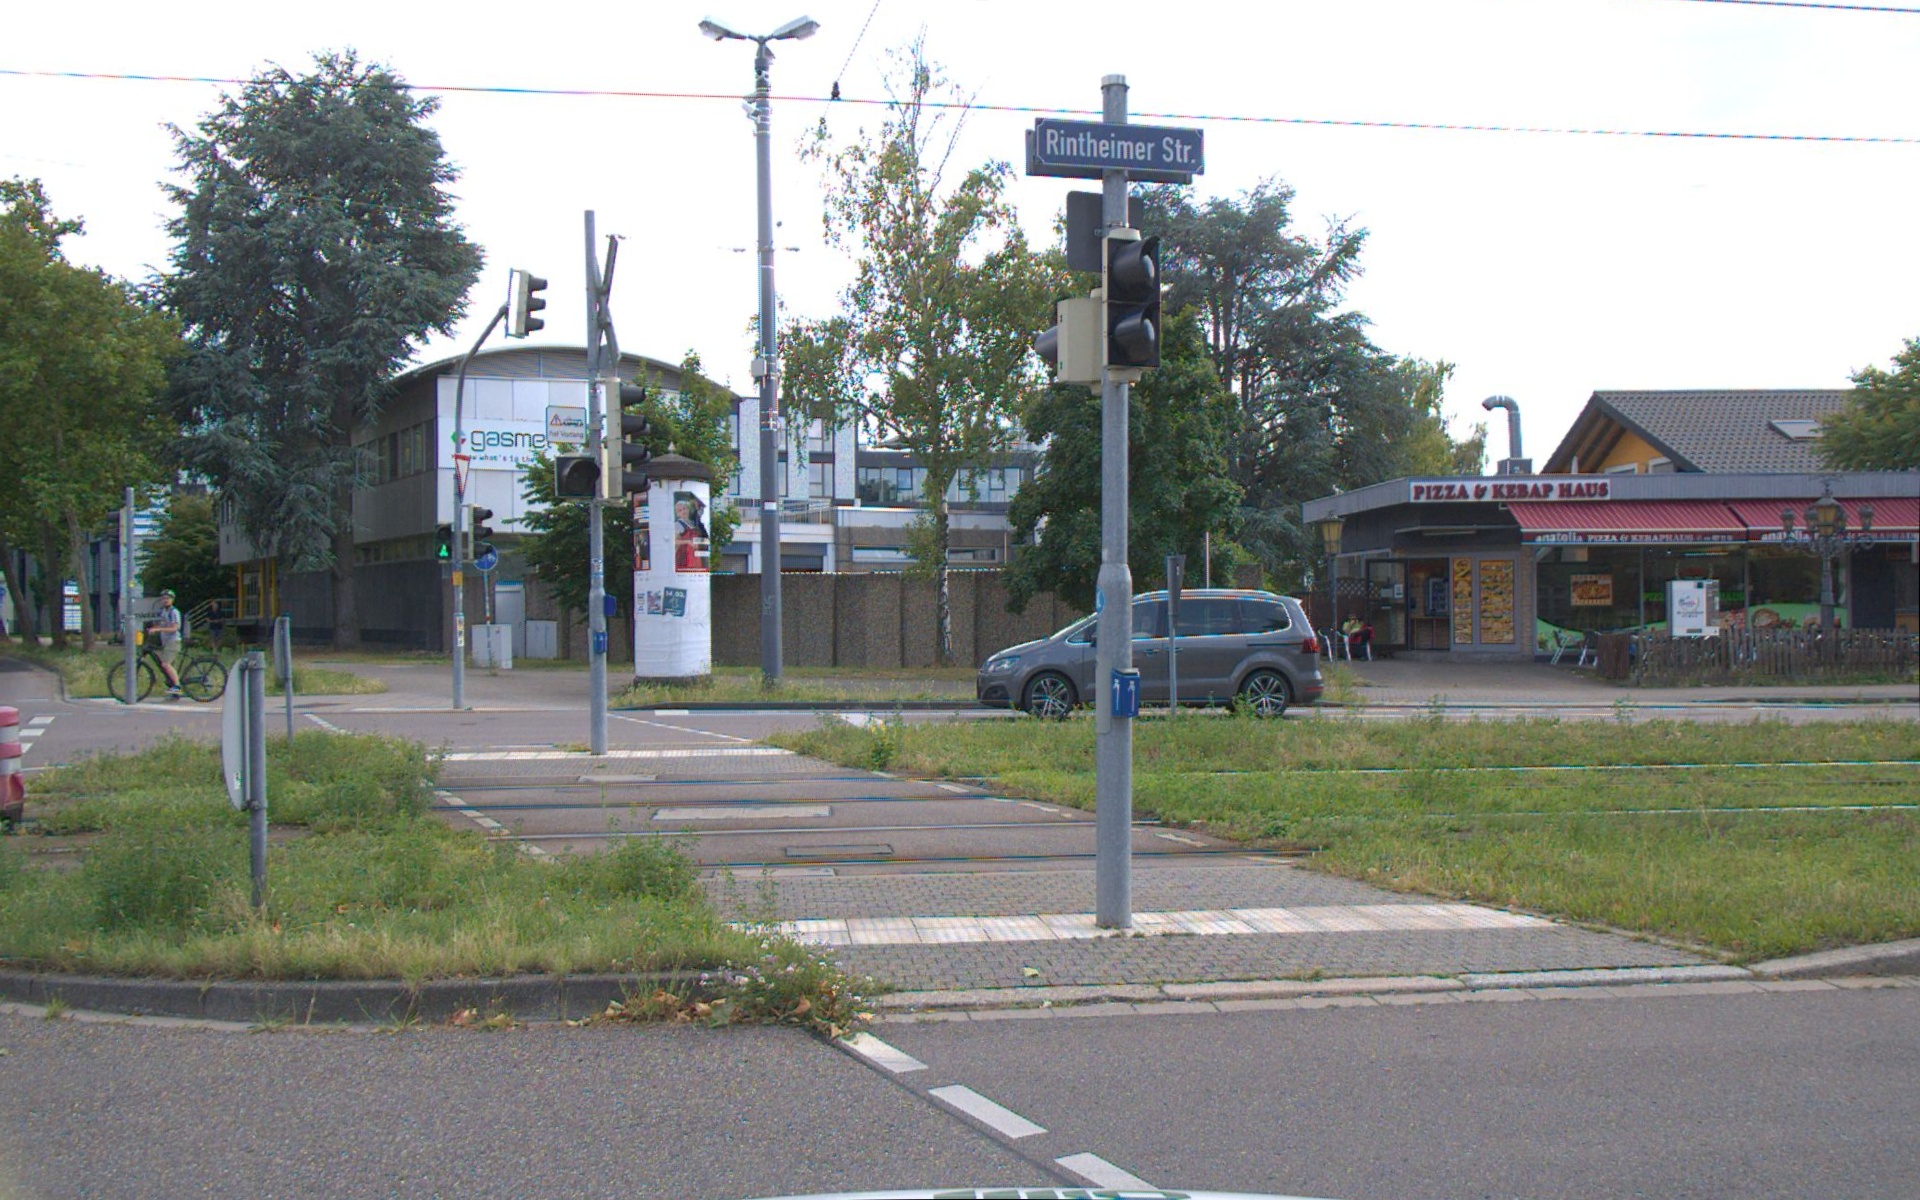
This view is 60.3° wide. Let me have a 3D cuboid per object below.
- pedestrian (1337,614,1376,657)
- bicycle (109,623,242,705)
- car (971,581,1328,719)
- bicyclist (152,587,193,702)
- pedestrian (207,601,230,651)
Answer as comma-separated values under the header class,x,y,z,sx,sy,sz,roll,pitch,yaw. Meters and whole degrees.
class,x,y,z,sx,sy,sz,roll,pitch,yaw
pedestrian,9.033,0.804,37.700,0.710,0.945,0.777,0,1,3
bicycle,-12.837,1.035,27.116,1.917,1.257,0.538,0,1,-21
car,2.497,0.656,22.700,4.629,1.752,1.999,-1,0,-2
bicyclist,-12.892,0.719,27.080,0.535,1.841,0.538,0,1,-20
pedestrian,-24.112,0.838,53.774,0.614,1.597,0.554,-1,2,-30
